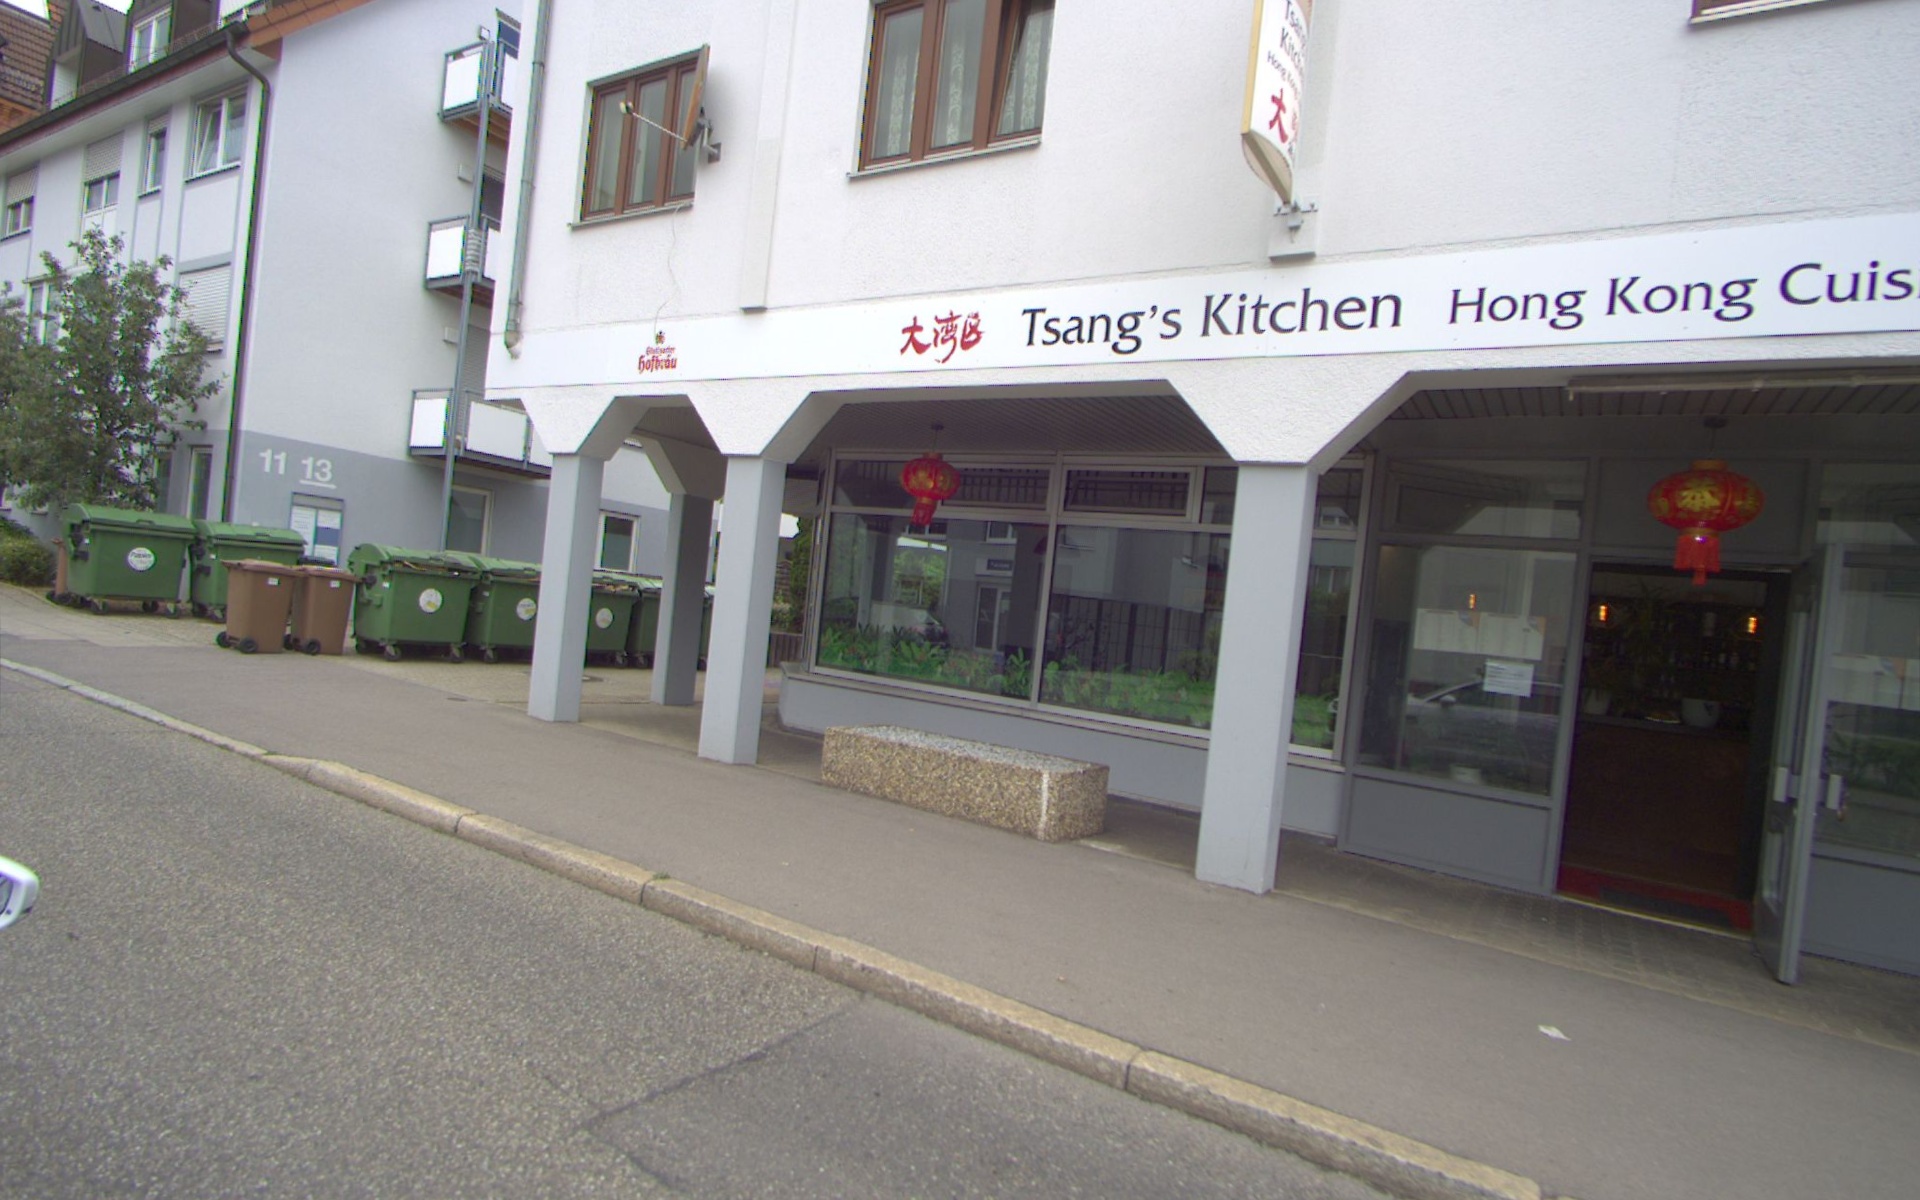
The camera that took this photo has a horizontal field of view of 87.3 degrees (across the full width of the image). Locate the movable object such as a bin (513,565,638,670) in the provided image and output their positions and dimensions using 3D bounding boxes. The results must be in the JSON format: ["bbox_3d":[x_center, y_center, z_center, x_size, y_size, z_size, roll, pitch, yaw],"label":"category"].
[{"bbox_3d":[-5.904,0.276,15.466,1.240,1.435,1.209,7,0,35],"label":"movable object such as a bin"}]

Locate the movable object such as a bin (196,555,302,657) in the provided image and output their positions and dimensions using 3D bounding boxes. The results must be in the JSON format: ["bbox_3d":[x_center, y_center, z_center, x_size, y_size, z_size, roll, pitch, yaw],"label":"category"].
[{"bbox_3d":[-8.497,0.070,12.015,0.956,1.080,0.683,7,1,36],"label":"movable object such as a bin"}]

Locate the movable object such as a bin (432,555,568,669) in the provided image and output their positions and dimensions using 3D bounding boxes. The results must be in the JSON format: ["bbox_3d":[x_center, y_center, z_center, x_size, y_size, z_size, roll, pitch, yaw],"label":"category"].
[{"bbox_3d":[-6.578,0.182,14.407,1.240,1.435,1.209,7,0,35],"label":"movable object such as a bin"}]

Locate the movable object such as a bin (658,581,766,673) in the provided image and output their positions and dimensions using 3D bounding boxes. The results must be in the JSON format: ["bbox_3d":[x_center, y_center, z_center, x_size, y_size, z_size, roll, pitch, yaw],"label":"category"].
[{"bbox_3d":[-4.381,0.480,17.789,1.240,1.435,1.209,7,0,35],"label":"movable object such as a bin"}]

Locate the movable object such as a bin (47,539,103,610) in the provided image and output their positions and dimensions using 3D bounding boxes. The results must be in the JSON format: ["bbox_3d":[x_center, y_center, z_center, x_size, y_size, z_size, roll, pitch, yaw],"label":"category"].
[{"bbox_3d":[-12.554,-0.361,14.271,0.457,0.932,0.430,7,1,32],"label":"movable object such as a bin"}]

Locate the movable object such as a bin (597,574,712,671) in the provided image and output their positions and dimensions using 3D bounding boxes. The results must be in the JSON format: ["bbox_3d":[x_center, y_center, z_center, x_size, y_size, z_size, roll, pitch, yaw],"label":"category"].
[{"bbox_3d":[-5.080,0.384,16.758,1.240,1.435,1.209,7,0,35],"label":"movable object such as a bin"}]

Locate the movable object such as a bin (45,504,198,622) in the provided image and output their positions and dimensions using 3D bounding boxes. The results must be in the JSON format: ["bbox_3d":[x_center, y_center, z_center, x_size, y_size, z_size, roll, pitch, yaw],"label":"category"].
[{"bbox_3d":[-11.714,-0.504,14.071,1.143,1.435,1.268,7,0,32],"label":"movable object such as a bin"}]

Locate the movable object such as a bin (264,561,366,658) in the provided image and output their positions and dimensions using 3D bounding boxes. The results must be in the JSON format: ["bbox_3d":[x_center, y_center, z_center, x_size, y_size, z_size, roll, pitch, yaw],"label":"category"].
[{"bbox_3d":[-8.096,0.121,12.624,0.956,1.092,0.698,7,1,36],"label":"movable object such as a bin"}]

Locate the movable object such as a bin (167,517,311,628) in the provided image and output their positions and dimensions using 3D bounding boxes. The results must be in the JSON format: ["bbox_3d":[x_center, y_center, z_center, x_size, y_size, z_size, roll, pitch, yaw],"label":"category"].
[{"bbox_3d":[-10.807,-0.397,15.100,1.286,1.453,1.268,7,0,32],"label":"movable object such as a bin"}]

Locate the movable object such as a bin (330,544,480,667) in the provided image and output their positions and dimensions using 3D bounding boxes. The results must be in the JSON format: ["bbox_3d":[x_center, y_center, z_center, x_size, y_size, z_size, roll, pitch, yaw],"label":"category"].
[{"bbox_3d":[-7.299,0.084,13.252,1.240,1.435,1.209,7,0,35],"label":"movable object such as a bin"}]
